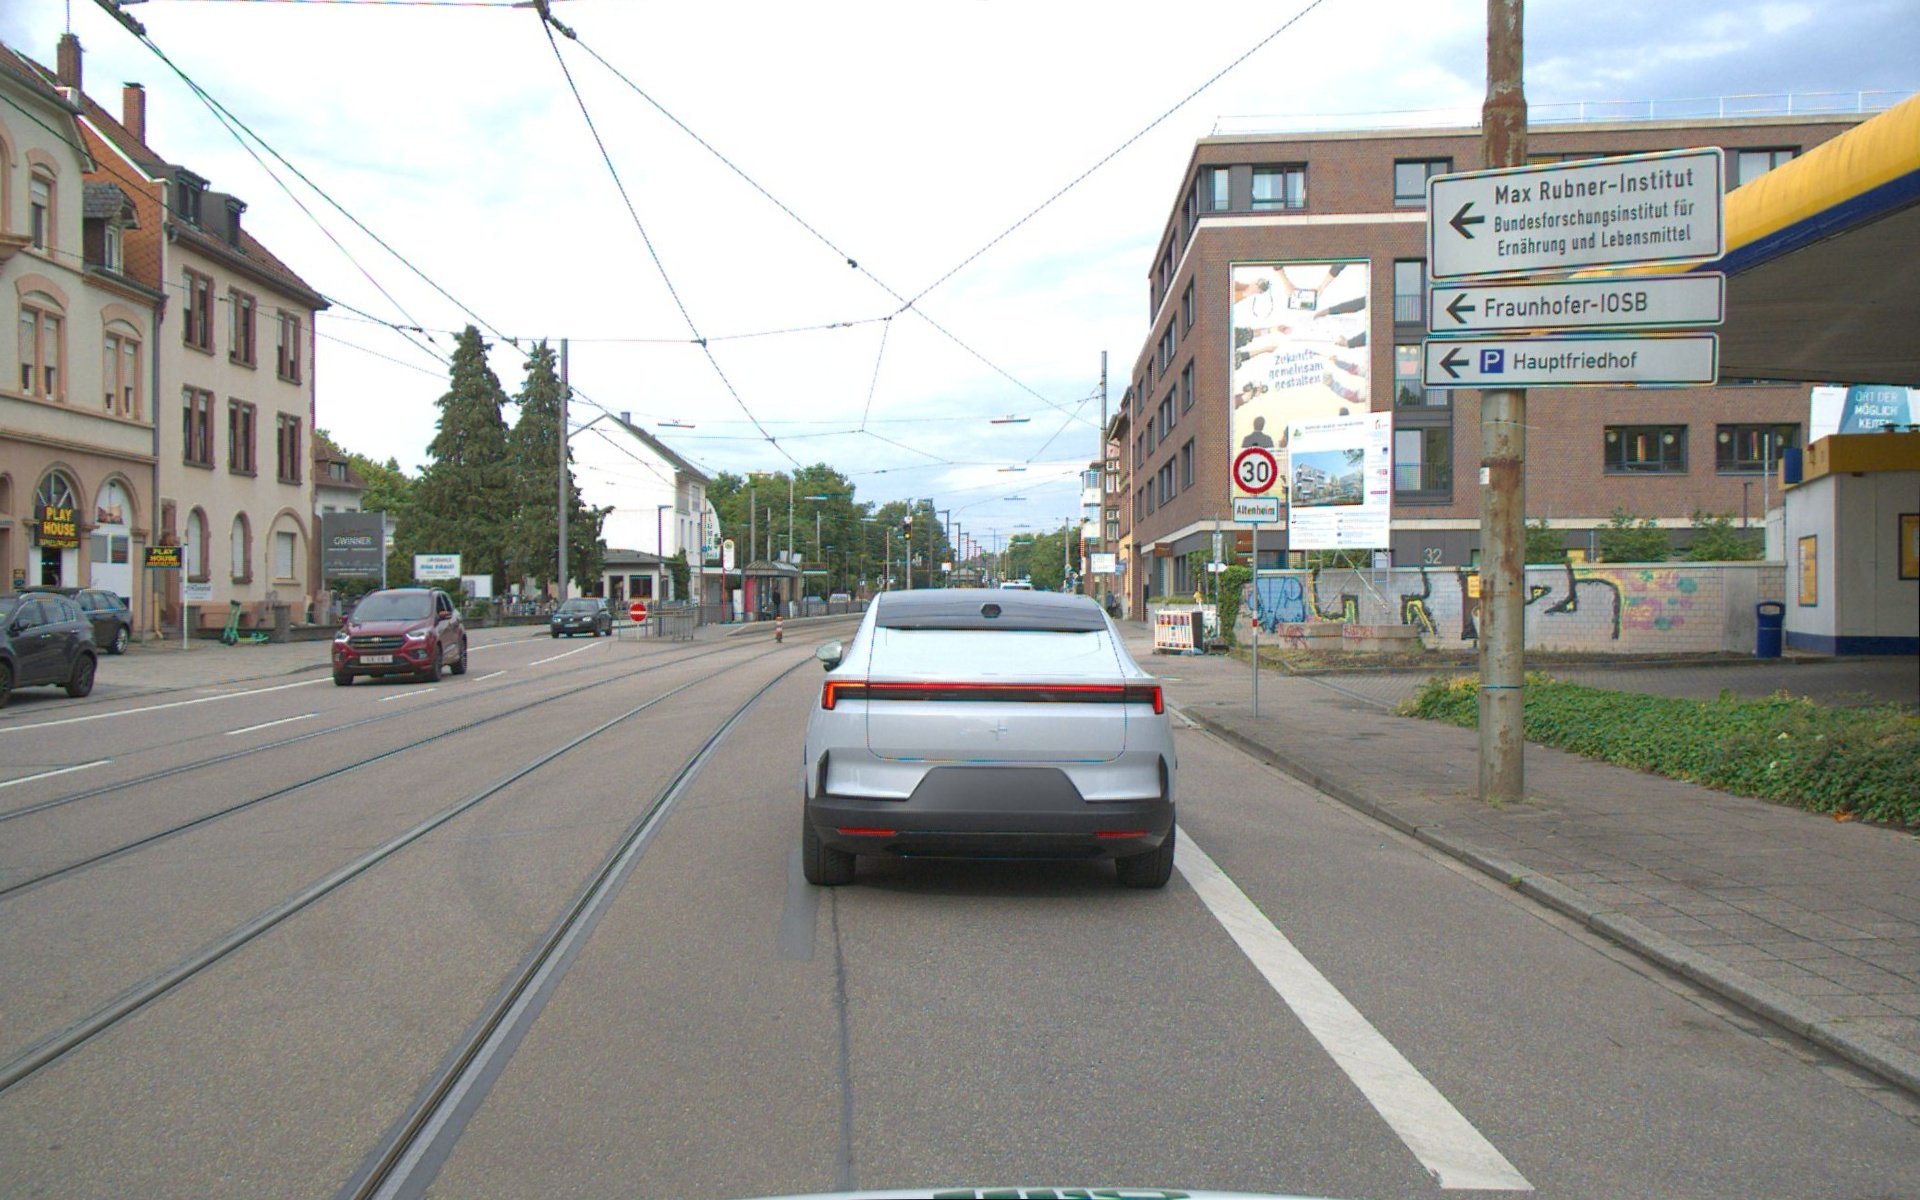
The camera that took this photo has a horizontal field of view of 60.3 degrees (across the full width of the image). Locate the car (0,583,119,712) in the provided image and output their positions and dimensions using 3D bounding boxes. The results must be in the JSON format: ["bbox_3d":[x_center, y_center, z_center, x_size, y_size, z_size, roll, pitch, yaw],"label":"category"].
[{"bbox_3d":[-14.921,0.666,25.347,1.997,1.780,4.531,2,1,-5],"label":"car"}]

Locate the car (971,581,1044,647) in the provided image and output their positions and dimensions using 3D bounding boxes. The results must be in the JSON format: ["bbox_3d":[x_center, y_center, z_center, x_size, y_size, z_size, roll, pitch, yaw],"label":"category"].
[{"bbox_3d":[1.352,0.389,48.766,1.953,1.847,3.999,-1,0,-1],"label":"car"}]

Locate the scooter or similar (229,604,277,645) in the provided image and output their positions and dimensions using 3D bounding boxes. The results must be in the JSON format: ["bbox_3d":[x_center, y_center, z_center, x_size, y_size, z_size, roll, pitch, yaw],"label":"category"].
[{"bbox_3d":[-19.420,0.667,45.434,1.162,1.121,0.522,1,-1,-32],"label":"scooter or similar"}]

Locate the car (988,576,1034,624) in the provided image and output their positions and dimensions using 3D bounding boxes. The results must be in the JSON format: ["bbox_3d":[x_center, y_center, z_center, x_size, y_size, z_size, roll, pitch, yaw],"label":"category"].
[{"bbox_3d":[2.699,0.009,88.094,2.181,2.444,5.122,1,0,-1],"label":"car"}]

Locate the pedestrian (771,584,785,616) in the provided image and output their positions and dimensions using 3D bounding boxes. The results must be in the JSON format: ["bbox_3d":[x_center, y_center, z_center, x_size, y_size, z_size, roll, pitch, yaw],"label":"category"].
[{"bbox_3d":[-9.620,0.020,87.588,0.602,1.694,0.698,1,-1,5],"label":"pedestrian"}]

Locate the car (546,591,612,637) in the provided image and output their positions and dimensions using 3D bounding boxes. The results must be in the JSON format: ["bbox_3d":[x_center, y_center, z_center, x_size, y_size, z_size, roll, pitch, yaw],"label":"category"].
[{"bbox_3d":[-13.931,0.493,60.683,1.755,1.557,4.136,-2,0,-5],"label":"car"}]

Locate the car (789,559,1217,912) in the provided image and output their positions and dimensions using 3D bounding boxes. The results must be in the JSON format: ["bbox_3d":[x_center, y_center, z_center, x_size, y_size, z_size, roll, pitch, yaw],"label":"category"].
[{"bbox_3d":[0.139,0.644,9.648,1.959,1.608,3.998,1,0,-2],"label":"car"}]

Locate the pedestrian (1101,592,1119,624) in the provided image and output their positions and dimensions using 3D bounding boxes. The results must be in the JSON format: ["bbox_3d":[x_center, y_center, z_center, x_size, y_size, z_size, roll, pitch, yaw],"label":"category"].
[{"bbox_3d":[9.003,0.480,99.126,0.940,1.882,0.976,-2,1,8],"label":"pedestrian"}]

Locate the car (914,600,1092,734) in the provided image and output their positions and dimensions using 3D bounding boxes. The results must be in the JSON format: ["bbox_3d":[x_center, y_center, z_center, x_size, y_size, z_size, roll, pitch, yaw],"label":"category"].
[{"bbox_3d":[0.521,0.745,20.295,1.952,1.444,4.001,-1,0,1],"label":"car"}]

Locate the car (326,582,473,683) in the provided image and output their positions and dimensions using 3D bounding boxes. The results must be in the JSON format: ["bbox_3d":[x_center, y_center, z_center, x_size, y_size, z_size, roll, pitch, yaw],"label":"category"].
[{"bbox_3d":[-10.414,0.564,31.010,1.808,1.754,4.399,0,0,-8],"label":"car"}]

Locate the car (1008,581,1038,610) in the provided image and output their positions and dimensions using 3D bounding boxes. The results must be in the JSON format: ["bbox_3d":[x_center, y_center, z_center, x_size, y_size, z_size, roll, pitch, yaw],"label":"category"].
[{"bbox_3d":[4.550,-0.342,120.365,1.953,2.049,3.999,1,0,-1],"label":"car"}]

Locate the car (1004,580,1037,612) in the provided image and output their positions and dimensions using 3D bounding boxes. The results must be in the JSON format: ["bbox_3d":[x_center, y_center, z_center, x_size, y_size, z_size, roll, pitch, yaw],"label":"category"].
[{"bbox_3d":[4.010,-0.235,110.479,1.953,2.049,3.999,1,0,-1],"label":"car"}]

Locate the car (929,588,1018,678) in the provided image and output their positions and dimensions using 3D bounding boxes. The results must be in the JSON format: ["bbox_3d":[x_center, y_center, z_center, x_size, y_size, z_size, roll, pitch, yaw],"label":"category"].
[{"bbox_3d":[0.327,0.650,33.948,1.646,1.717,3.825,1,0,3],"label":"car"}]

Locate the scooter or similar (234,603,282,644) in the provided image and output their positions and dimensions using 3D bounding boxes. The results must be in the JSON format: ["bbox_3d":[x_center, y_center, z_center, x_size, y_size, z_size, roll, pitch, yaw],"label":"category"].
[{"bbox_3d":[-19.625,0.667,46.246,1.162,1.121,0.522,1,-1,-32],"label":"scooter or similar"}]

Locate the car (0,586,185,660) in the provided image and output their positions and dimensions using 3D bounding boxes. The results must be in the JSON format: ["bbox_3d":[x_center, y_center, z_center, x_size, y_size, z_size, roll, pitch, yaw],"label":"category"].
[{"bbox_3d":[-19.187,0.483,36.561,1.953,1.519,4.900,0,0,-2],"label":"car"}]

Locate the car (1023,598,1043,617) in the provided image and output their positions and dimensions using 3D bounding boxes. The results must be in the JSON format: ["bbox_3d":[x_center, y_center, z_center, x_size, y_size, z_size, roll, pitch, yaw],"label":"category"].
[{"bbox_3d":[8.142,0.803,185.389,1.953,2.049,3.999,1,0,-1],"label":"car"}]
